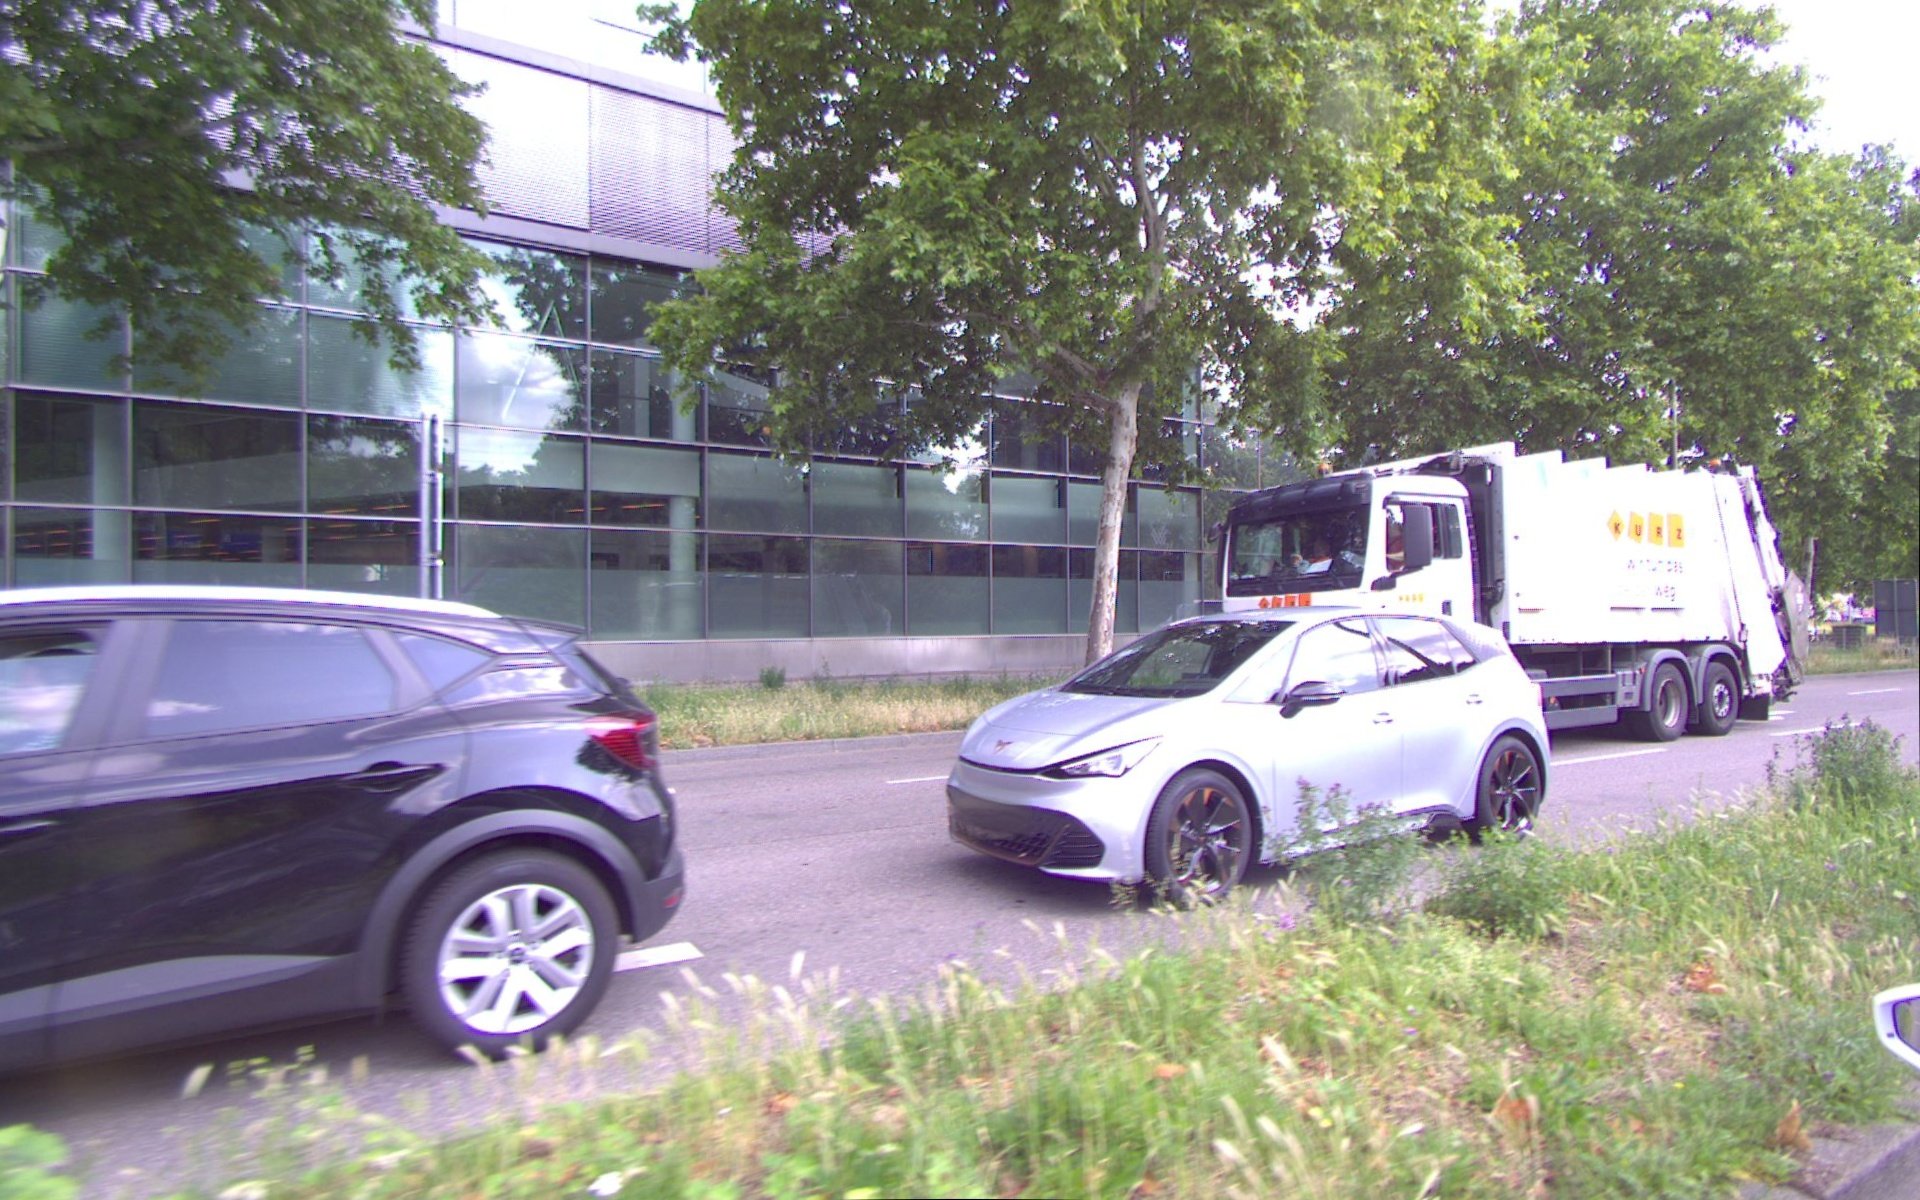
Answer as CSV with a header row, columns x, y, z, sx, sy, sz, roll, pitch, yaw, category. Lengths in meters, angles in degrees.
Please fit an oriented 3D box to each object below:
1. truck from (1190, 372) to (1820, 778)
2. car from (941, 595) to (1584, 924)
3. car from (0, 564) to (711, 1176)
x,y,z,sx,sy,sz,roll,pitch,yaw,category
7.731,-0.148,13.443,10.041,3.939,2.637,1,-2,-31,truck
2.109,0.884,6.669,4.185,1.573,1.736,3,-4,-31,car
-3.172,0.730,3.251,4.313,1.608,1.699,1,-2,-32,car
